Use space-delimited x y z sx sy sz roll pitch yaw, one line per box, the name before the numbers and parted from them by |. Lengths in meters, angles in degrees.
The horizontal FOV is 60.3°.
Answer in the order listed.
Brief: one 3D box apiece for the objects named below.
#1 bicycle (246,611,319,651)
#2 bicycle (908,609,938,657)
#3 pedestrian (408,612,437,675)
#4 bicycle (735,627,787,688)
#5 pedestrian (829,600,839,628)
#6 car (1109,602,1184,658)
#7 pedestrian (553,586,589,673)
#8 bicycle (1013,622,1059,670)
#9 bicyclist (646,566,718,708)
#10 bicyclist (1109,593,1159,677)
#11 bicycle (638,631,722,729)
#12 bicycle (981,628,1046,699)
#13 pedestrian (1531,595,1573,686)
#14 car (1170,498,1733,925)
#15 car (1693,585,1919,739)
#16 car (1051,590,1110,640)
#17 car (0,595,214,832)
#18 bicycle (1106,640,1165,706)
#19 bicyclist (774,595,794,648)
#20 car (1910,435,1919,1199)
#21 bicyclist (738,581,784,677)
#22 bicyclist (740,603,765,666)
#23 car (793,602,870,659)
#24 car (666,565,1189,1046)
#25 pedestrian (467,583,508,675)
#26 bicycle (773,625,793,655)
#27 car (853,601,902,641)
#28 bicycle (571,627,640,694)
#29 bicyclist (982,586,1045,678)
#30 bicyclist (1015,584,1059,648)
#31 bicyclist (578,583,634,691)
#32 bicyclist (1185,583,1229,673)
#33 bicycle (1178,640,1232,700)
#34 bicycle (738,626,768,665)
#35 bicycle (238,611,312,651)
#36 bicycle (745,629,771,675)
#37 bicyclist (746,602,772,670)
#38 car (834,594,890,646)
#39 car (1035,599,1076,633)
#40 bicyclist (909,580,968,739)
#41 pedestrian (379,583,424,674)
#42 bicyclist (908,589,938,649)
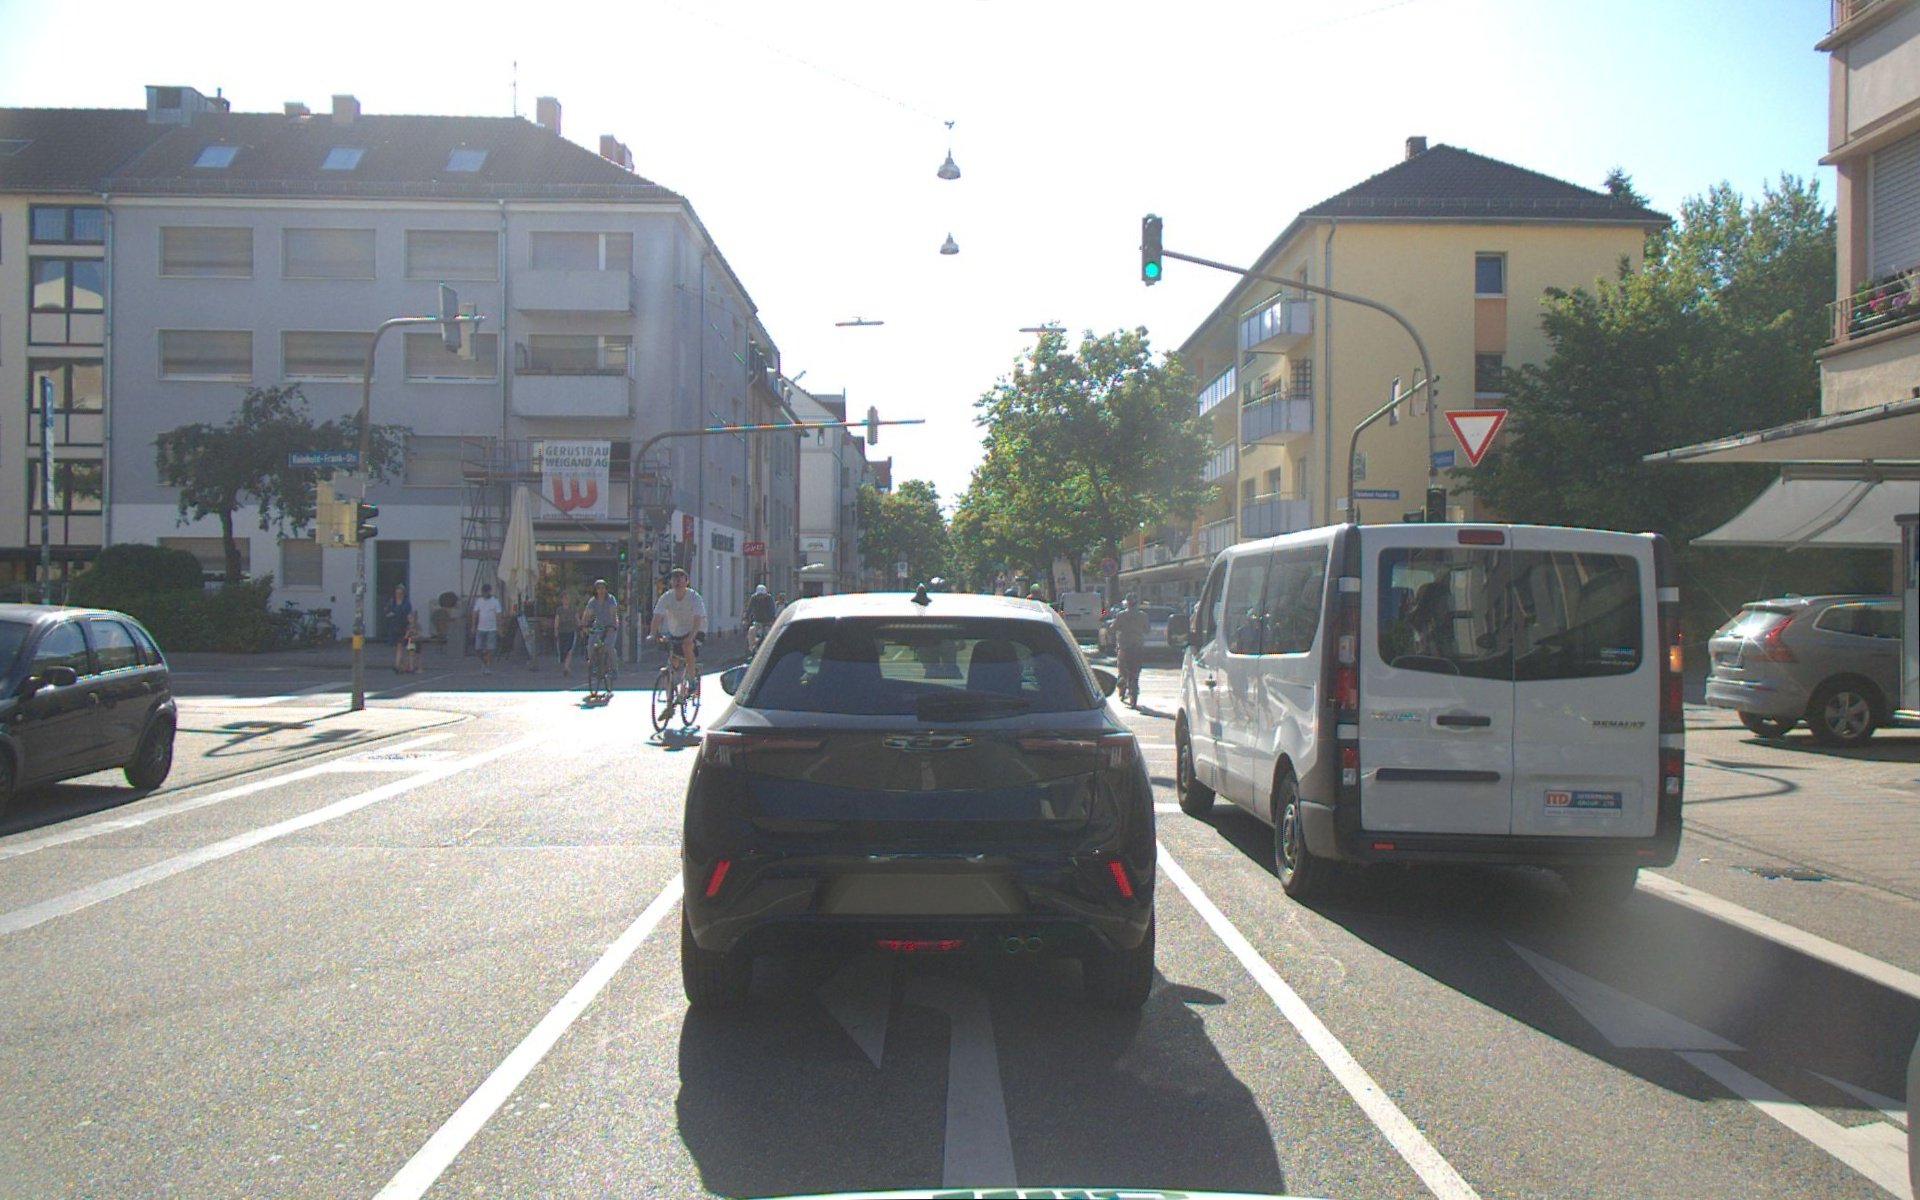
bicycle | -16.451 0.743 40.178 1.556 0.956 0.512 0 0 1
bicycle | -1.033 0.911 46.343 0.785 1.277 2.138 0 0 0
pedestrian | -10.198 0.818 31.387 0.378 1.166 0.532 0 0 -1
bicycle | -3.430 0.975 28.620 0.666 0.969 1.933 -1 0 -1
pedestrian | -7.159 0.803 93.780 0.566 1.610 0.707 0 0 -6
car | 5.210 0.809 46.509 1.677 1.509 3.480 0 0 0
pedestrian | -7.262 0.543 30.885 0.520 1.609 0.562 0 0 -2
bicycle | 1.656 0.993 36.580 0.839 0.961 2.307 2 0 -1
bicyclist | -3.294 0.430 19.652 0.702 1.648 0.946 0 -1 -1
bicyclist | 2.574 0.511 24.457 0.678 1.214 0.595 0 0 0
bicycle | -3.298 0.919 19.631 0.702 1.082 1.872 0 0 -1
bicycle | 0.797 0.941 25.293 0.839 0.961 2.307 2 0 -1
pedestrian | 10.448 0.706 29.196 0.528 1.598 0.539 0 0 -1
car | 2.664 0.546 10.396 1.928 1.974 5.054 2 0 -1
car | 10.830 0.690 19.122 3.905 1.691 1.825 0 0 -1
car | 4.698 0.573 65.135 2.004 1.879 4.584 0 0 0
car | -7.101 0.737 12.022 1.657 1.473 3.855 2 0 -2
bicycle | 2.573 1.064 24.422 0.677 0.881 1.876 0 0 0
bicyclist | -5.295 0.640 49.846 0.542 1.576 0.813 1 0 -5
car | 3.048 0.570 1.116 1.928 1.842 4.831 0 0 -2
bicyclist | -3.431 0.491 28.566 0.666 1.604 0.899 -1 0 -1
bicyclist | -5.175 0.846 41.258 0.531 1.547 0.774 0 0 -1
car | -3.402 0.784 44.434 1.800 1.459 4.176 0 0 -1
car | -0.133 0.692 7.485 1.726 1.586 3.999 0 0 -1
pedestrian | -8.858 0.537 31.016 0.561 1.718 0.669 0 0 -1
bicycle | -5.287 1.190 49.566 0.542 0.848 2.129 1 0 -5
car | -3.170 0.776 63.544 1.769 1.437 4.423 -1 0 -3
bicycle | -5.590 0.938 26.164 0.666 0.969 1.933 -1 0 -1
bicyclist | 0.806 0.479 25.267 0.839 1.337 1.210 2 0 -1
bicyclist | 1.686 0.348 36.497 0.839 1.337 1.210 2 0 -1
bicyclist | -5.594 0.576 26.180 0.666 1.659 0.899 -1 0 -1
bicyclist | 3.907 0.433 26.162 0.576 1.406 0.823 0 0 0
bicycle | 3.885 1.099 26.340 0.607 0.881 1.876 0 0 0
bicycle | -5.178 1.138 41.375 0.531 0.918 1.826 0 0 -1
bicycle | -16.404 0.739 39.610 1.556 0.956 0.512 0 0 1
bicycle | -4.288 1.089 35.186 0.532 0.918 1.824 0 0 -6
bicyclist | -4.269 0.752 35.077 0.532 1.415 0.787 0 0 -7
car | -3.084 0.641 52.763 1.559 1.593 4.088 -1 -1 0
car | 4.448 0.729 77.481 1.677 1.509 3.380 0 0 0
bicyclist | -0.234 0.637 18.213 0.619 1.698 1.050 0 0 -1
pedestrian | -10.709 0.545 31.708 0.561 1.712 0.968 0 0 -3
bicyclist | -1.032 0.524 46.334 0.785 1.678 1.125 0 0 0
